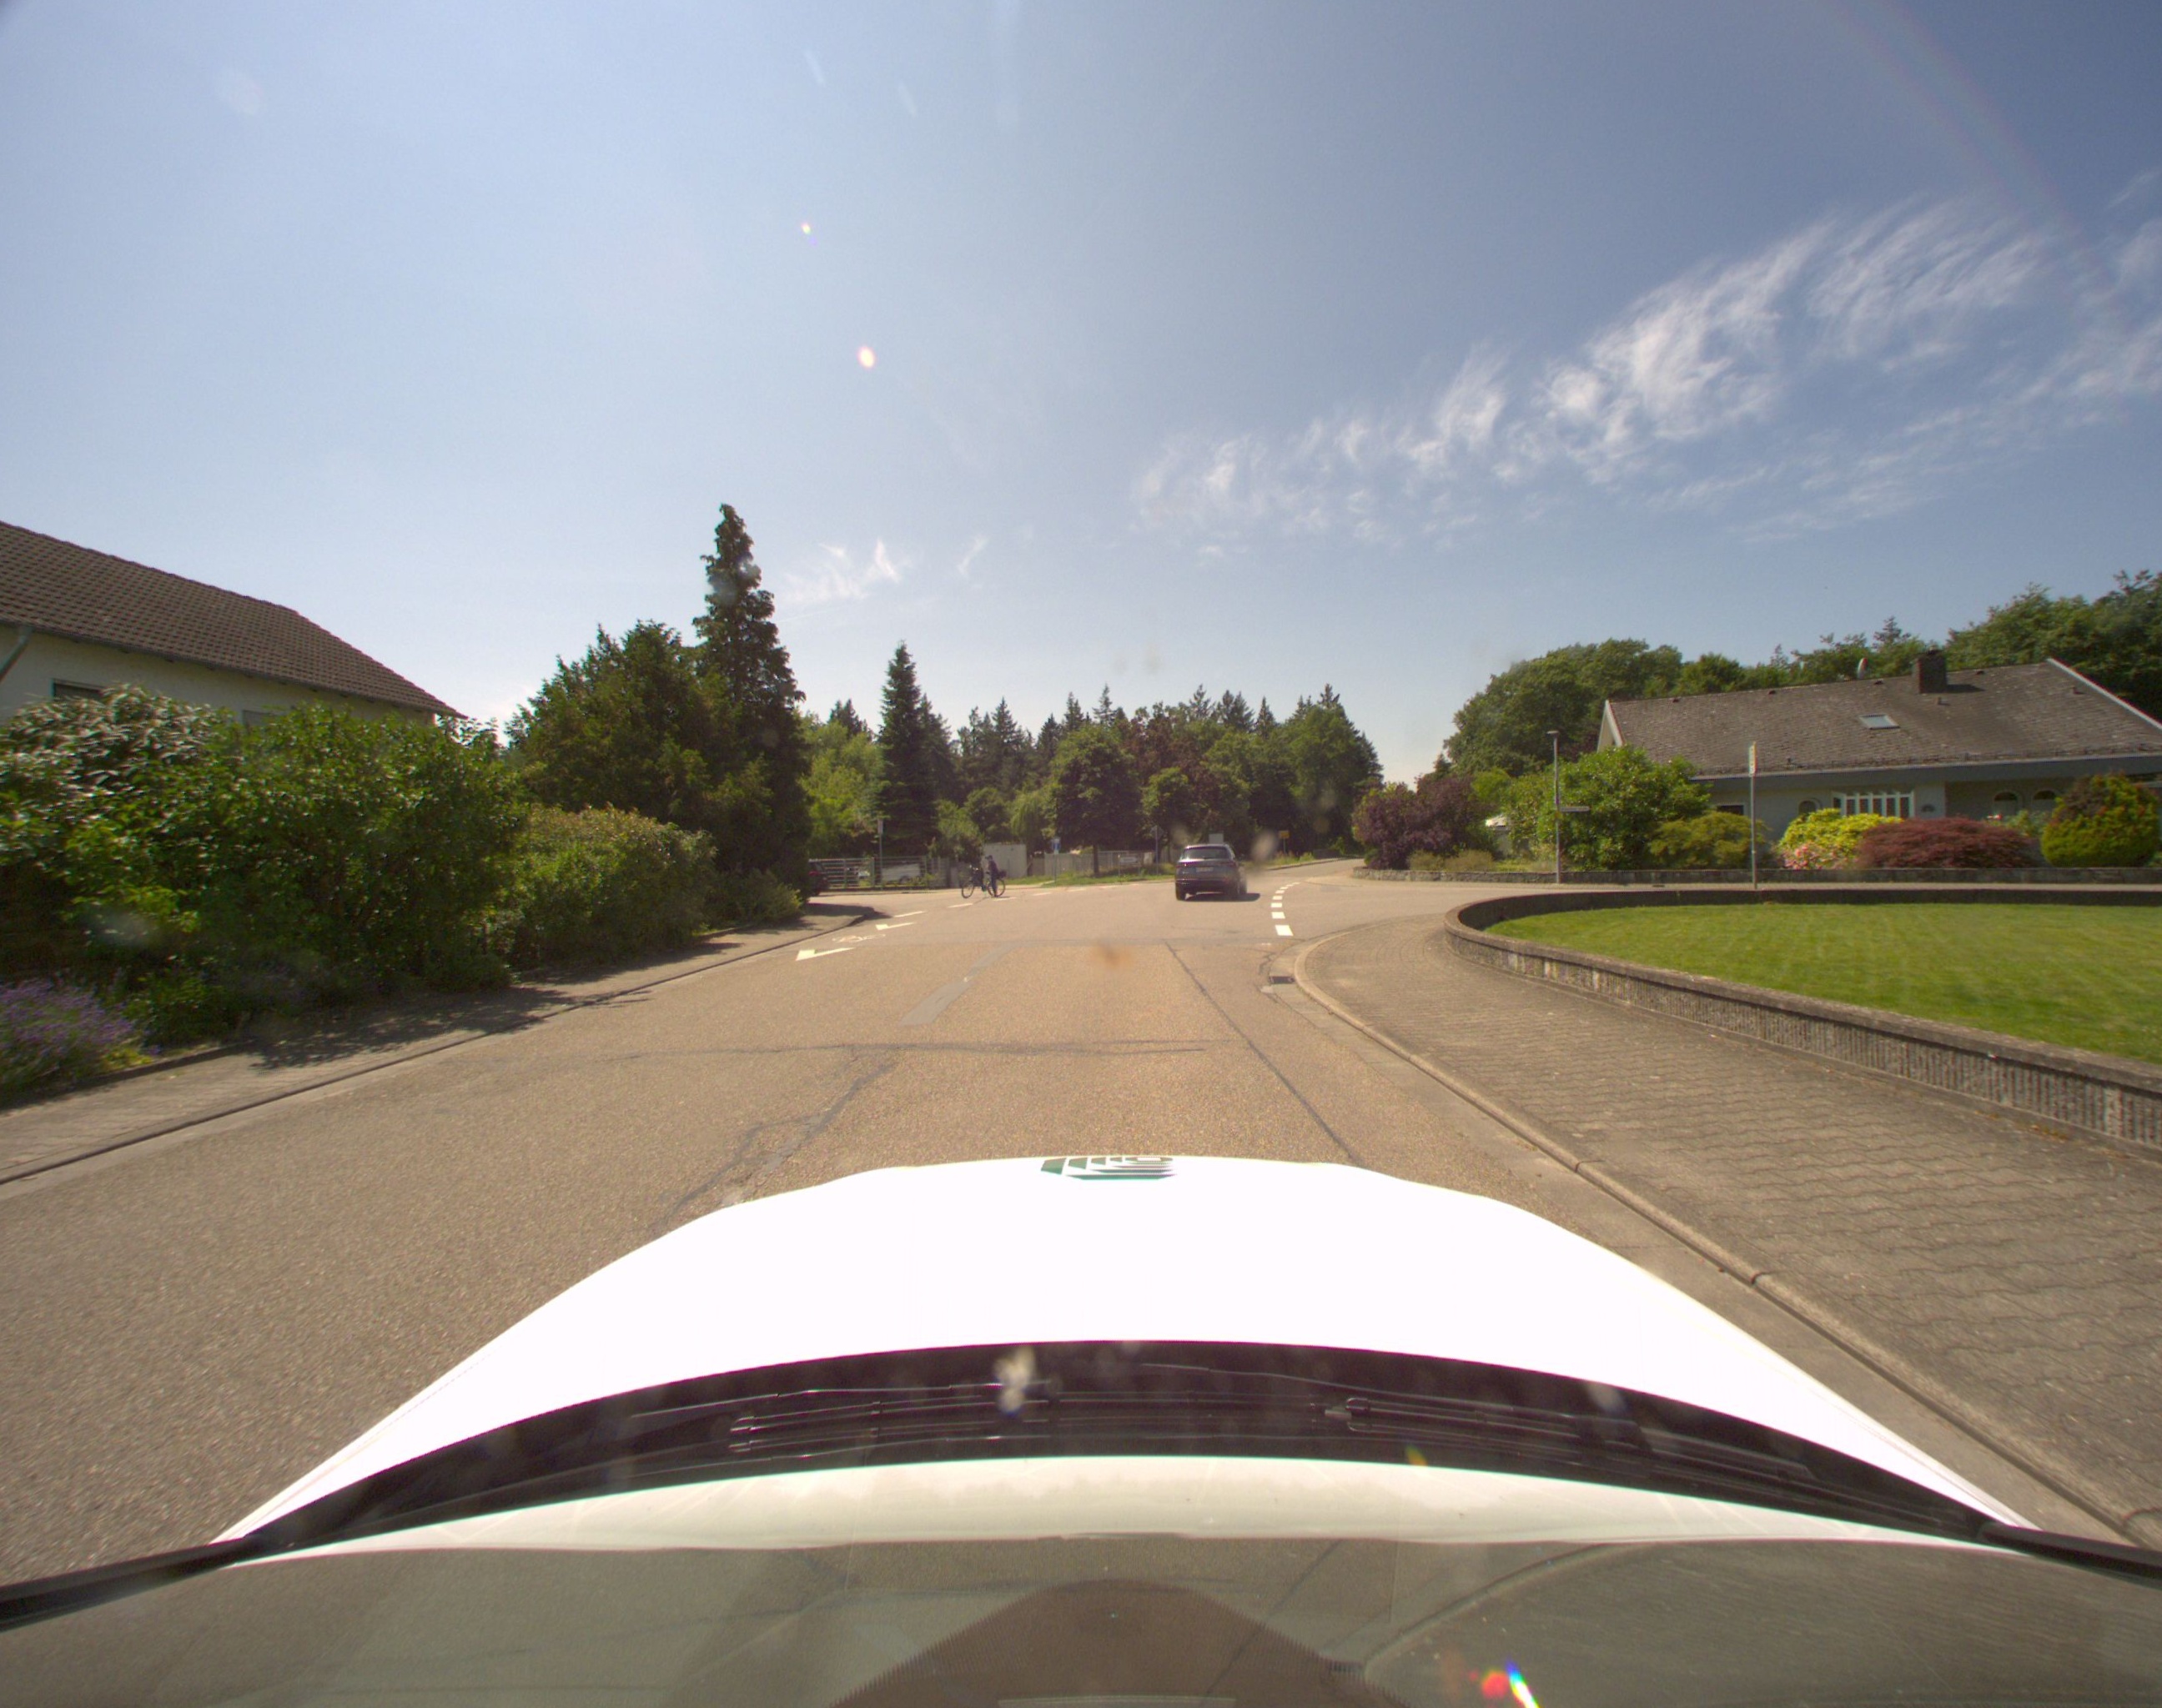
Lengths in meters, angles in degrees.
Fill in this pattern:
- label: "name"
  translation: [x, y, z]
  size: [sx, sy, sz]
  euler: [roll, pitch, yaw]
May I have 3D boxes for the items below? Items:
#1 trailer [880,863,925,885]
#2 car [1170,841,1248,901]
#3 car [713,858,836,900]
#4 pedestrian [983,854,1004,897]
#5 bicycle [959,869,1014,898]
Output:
- label: "trailer"
  translation: [-9.577, 1.057, 43.767]
  size: [2.213, 1.084, 1.103]
  euler: [-2, 0, -7]
- label: "car"
  translation: [3.847, 0.460, 24.000]
  size: [1.749, 1.618, 4.017]
  euler: [0, 0, 16]
- label: "car"
  translation: [-13.553, 1.089, 36.198]
  size: [4.650, 1.662, 1.970]
  euler: [-2, 0, 1]
- label: "pedestrian"
  translation: [-3.085, 0.747, 28.566]
  size: [0.611, 1.501, 0.501]
  euler: [-2, 0, -17]
- label: "bicycle"
  translation: [-3.360, 1.036, 28.984]
  size: [1.847, 0.964, 0.440]
  euler: [-2, 0, -18]
